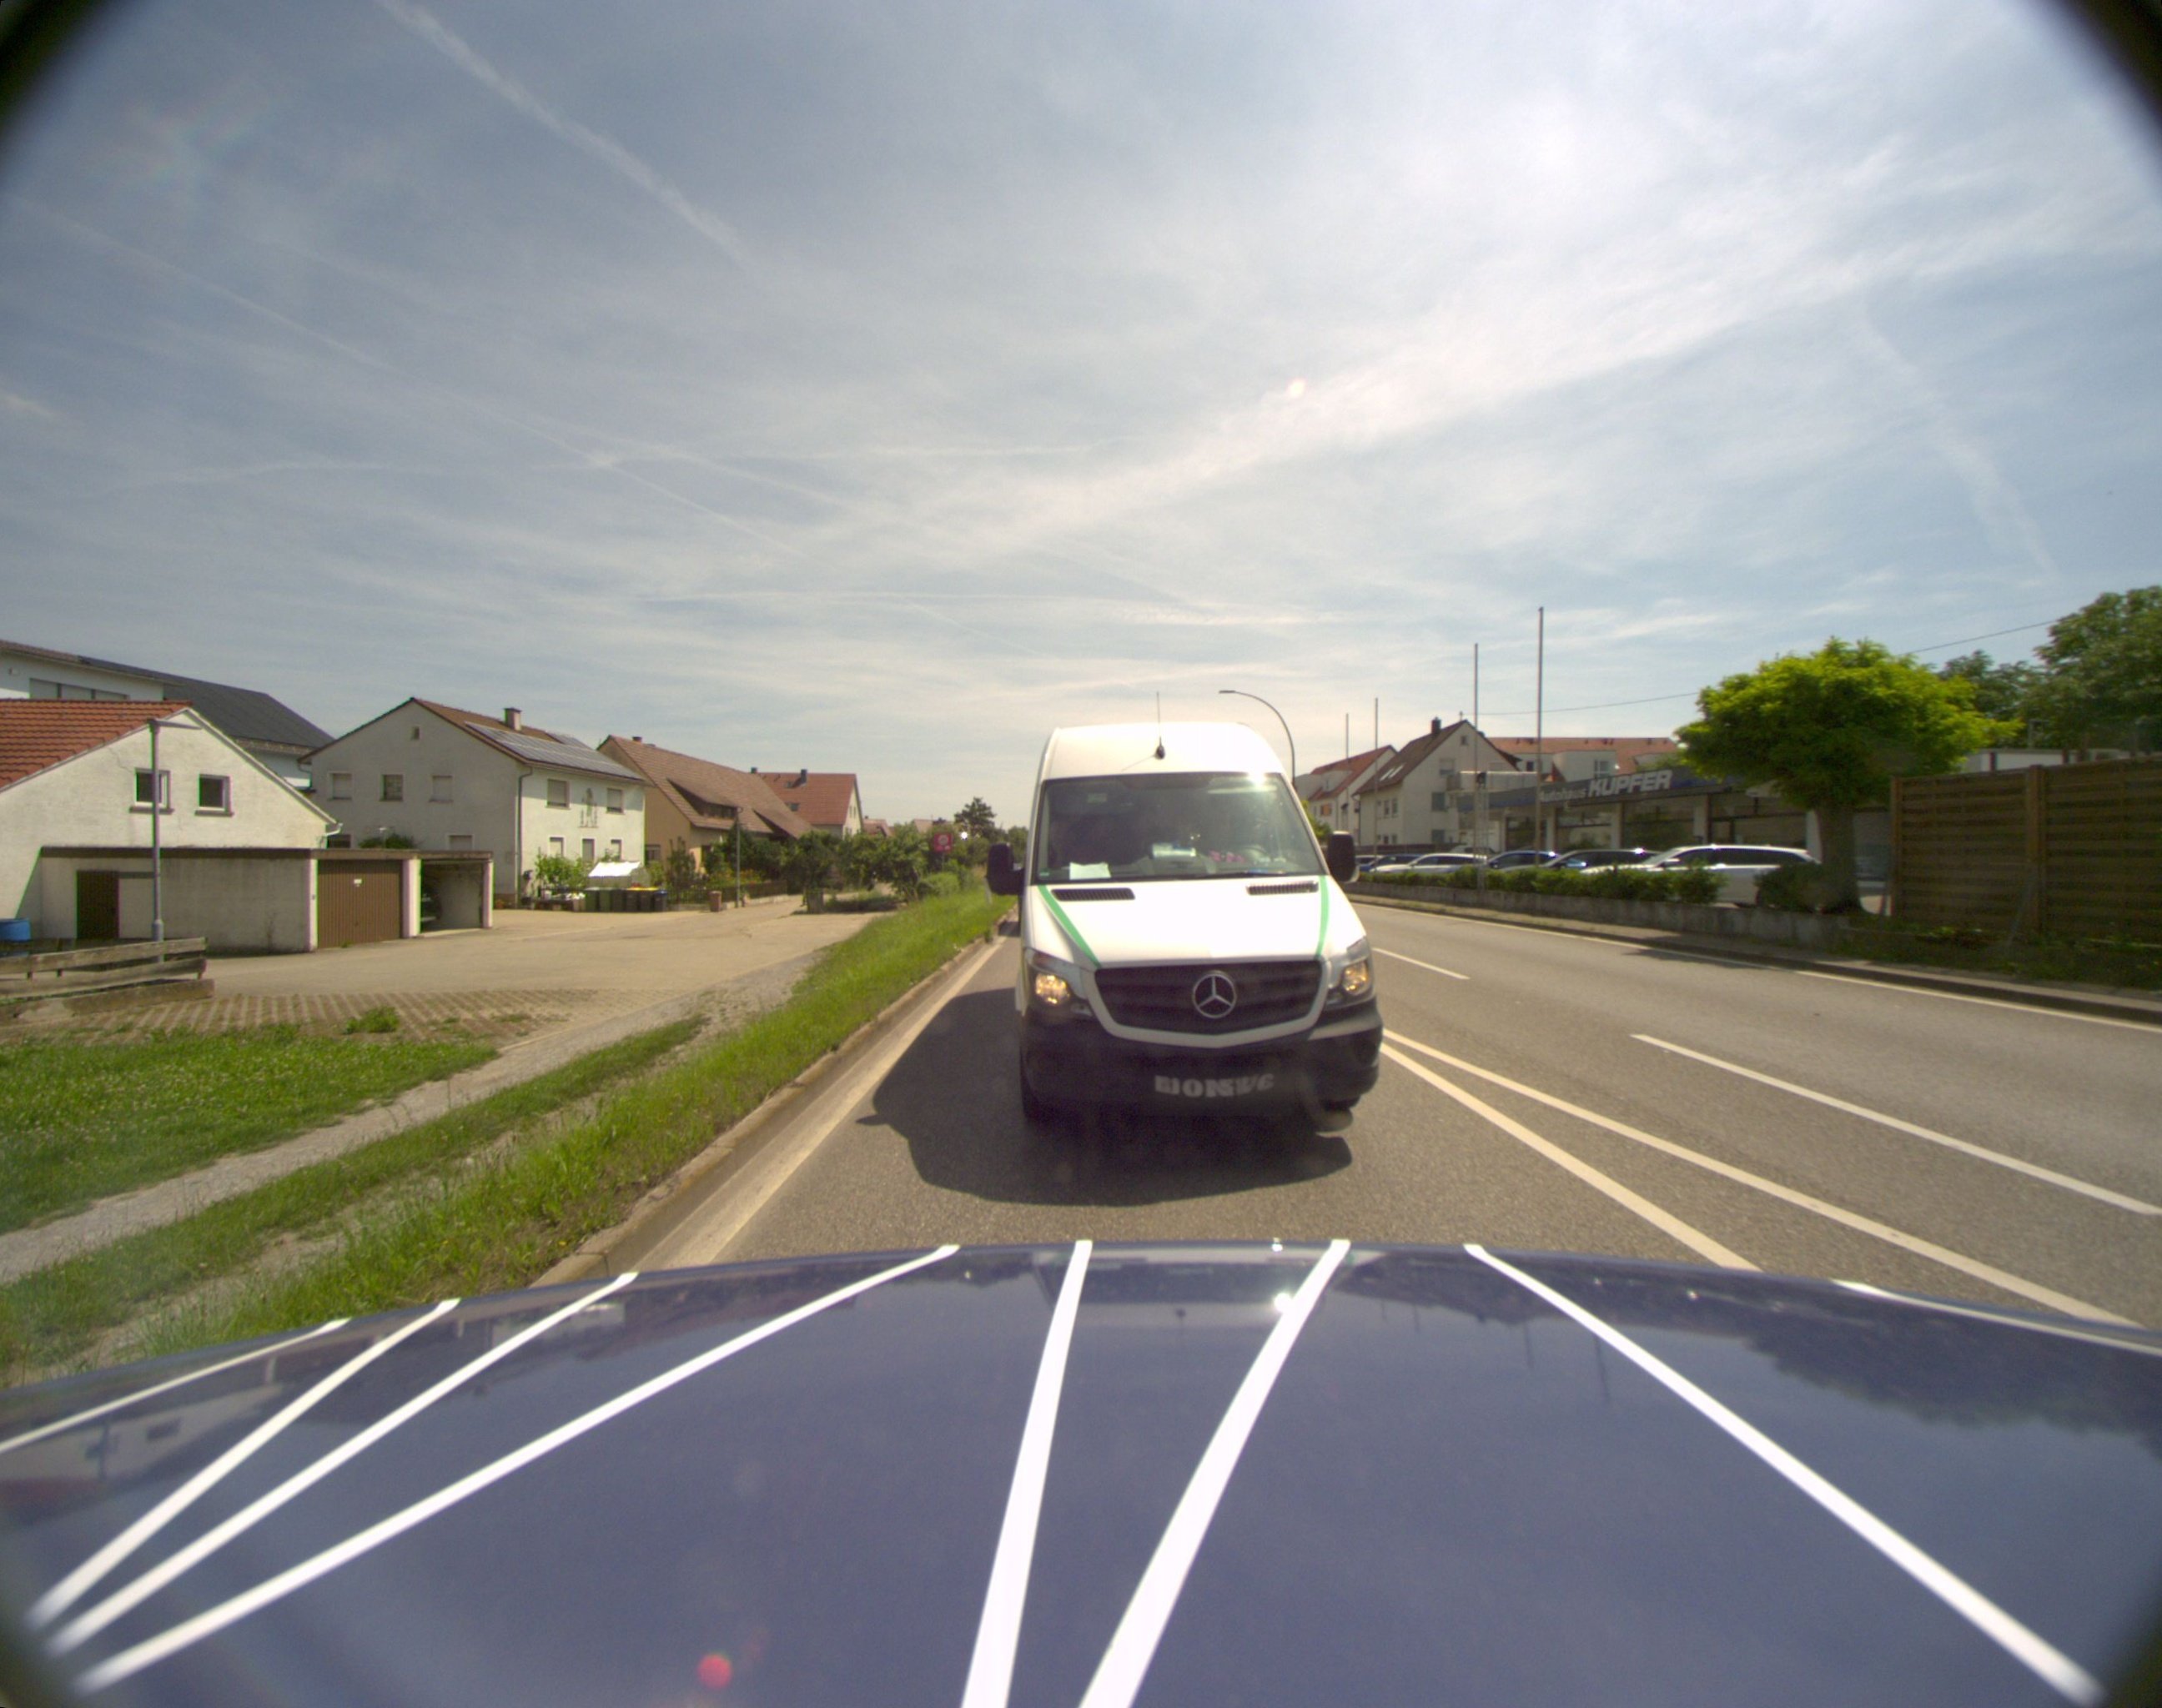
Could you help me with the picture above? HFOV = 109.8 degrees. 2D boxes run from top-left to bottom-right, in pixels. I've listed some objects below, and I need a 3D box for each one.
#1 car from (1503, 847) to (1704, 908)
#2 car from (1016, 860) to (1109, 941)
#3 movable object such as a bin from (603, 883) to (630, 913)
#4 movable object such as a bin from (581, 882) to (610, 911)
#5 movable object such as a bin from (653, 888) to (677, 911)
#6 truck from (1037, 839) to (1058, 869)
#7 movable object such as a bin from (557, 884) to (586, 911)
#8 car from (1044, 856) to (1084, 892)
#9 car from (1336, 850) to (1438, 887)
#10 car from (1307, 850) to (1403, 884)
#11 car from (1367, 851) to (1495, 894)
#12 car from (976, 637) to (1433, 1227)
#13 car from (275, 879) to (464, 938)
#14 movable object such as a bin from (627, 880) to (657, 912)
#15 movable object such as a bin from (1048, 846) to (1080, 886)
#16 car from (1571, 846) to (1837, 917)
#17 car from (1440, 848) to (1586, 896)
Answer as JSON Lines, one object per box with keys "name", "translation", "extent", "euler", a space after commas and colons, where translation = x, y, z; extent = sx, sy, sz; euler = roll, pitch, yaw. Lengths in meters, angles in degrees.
{"name": "car", "translation": [14.220, 0.649, 20.978], "extent": [4.251, 1.536, 1.853], "euler": [-2, 0, 23]}
{"name": "car", "translation": [-0.401, 0.942, 16.985], "extent": [1.824, 1.574, 3.901], "euler": [-1, 0, -1]}
{"name": "movable object such as a bin", "translation": [-21.209, 2.010, 34.680], "extent": [0.678, 1.330, 0.820], "euler": [-2, 0, -1]}
{"name": "movable object such as a bin", "translation": [-22.129, 1.921, 34.651], "extent": [0.745, 1.239, 0.889], "euler": [-2, 0, -1]}
{"name": "movable object such as a bin", "translation": [-18.861, 2.062, 34.476], "extent": [0.645, 1.021, 0.756], "euler": [-2, 0, -1]}
{"name": "truck", "translation": [-4.356, 0.027, 100.488], "extent": [2.506, 3.847, 5.497], "euler": [-2, 0, -1]}
{"name": "movable object such as a bin", "translation": [-23.059, 1.952, 34.393], "extent": [0.740, 1.149, 0.830], "euler": [-2, 0, -1]}
{"name": "car", "translation": [-0.808, 0.926, 37.169], "extent": [1.824, 1.637, 3.901], "euler": [-1, 0, -1]}
{"name": "car", "translation": [13.563, 0.642, 33.660], "extent": [3.990, 1.455, 2.003], "euler": [-2, 0, 26]}
{"name": "car", "translation": [13.563, 0.661, 37.614], "extent": [4.255, 1.521, 2.003], "euler": [-2, 0, 26]}
{"name": "car", "translation": [13.481, 0.705, 29.353], "extent": [4.303, 1.510, 2.003], "euler": [-2, 0, 27]}
{"name": "car", "translation": [0.522, 0.360, 6.228], "extent": [1.978, 2.583, 5.633], "euler": [-2, 0, -1]}
{"name": "car", "translation": [-21.553, 1.617, 23.131], "extent": [3.997, 1.594, 1.826], "euler": [-1, 0, 0]}
{"name": "movable object such as a bin", "translation": [-19.870, 1.895, 34.383], "extent": [0.765, 1.362, 0.946], "euler": [-2, 0, -1]}
{"name": "movable object such as a bin", "translation": [-1.179, 0.844, 55.387], "extent": [1.998, 2.710, 5.419], "euler": [-1, 0, 1]}
{"name": "car", "translation": [13.871, 0.605, 17.293], "extent": [4.329, 1.451, 1.858], "euler": [-1, 0, 24]}
{"name": "car", "translation": [13.995, 0.604, 24.884], "extent": [3.990, 1.433, 1.857], "euler": [-2, 0, 25]}
